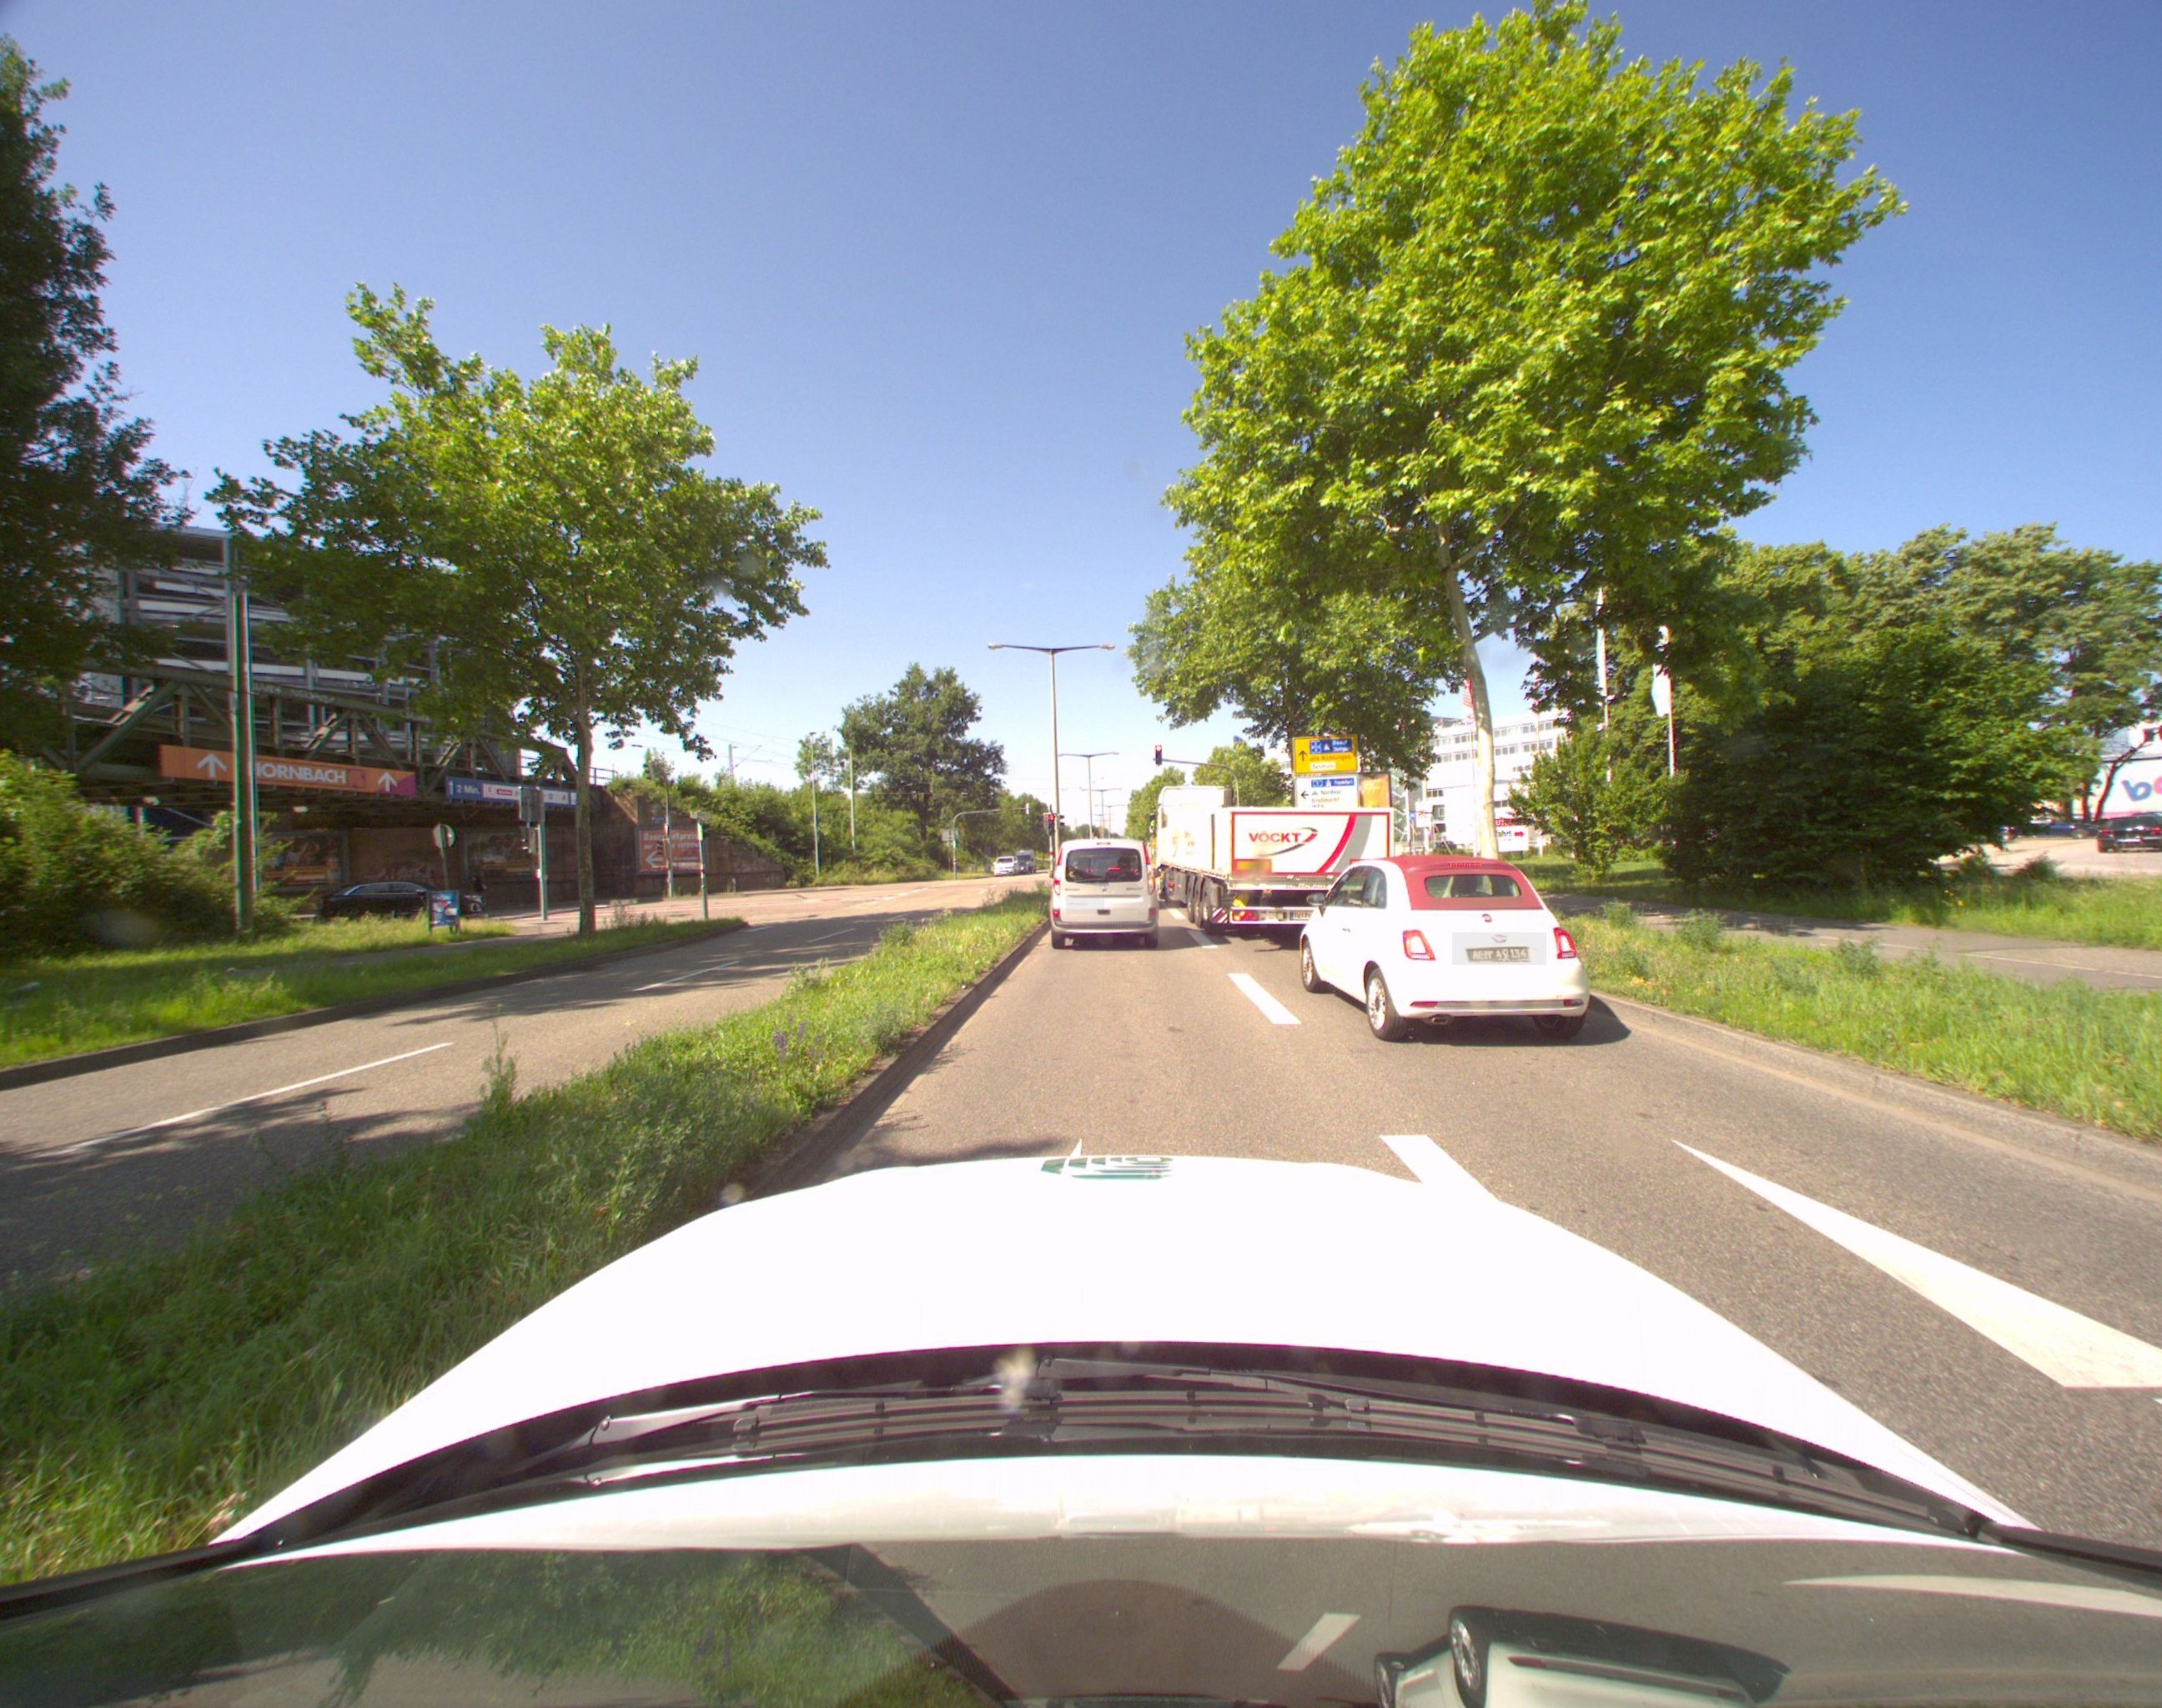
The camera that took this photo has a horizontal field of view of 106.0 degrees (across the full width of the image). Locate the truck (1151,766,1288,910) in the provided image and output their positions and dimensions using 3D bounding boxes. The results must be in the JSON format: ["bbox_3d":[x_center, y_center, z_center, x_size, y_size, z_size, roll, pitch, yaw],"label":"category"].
[{"bbox_3d":[3.976,-0.400,25.204,3.061,3.758,7.477,-1,0,1],"label":"truck"}]

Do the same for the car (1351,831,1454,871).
[{"bbox_3d":[14.257,-0.112,36.309,3.965,1.662,1.726,-1,-1,7],"label":"car"}]

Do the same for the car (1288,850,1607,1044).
[{"bbox_3d":[3.189,0.712,7.878,1.654,1.436,3.523,-1,0,3],"label":"car"}]

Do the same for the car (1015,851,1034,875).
[{"bbox_3d":[-6.432,0.970,92.331,2.055,2.614,5.860,-1,0,-4],"label":"car"}]

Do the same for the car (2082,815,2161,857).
[{"bbox_3d":[41.138,-0.684,32.145,3.746,1.515,1.755,0,-1,-43],"label":"car"}]

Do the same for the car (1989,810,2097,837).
[{"bbox_3d":[58.310,-1.813,49.438,1.727,1.486,3.961,-1,-1,-30],"label":"car"}]

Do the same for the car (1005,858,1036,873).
[{"bbox_3d":[-6.313,1.195,84.623,1.920,1.409,4.192,-1,-1,-25],"label":"car"}]

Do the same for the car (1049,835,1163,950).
[{"bbox_3d":[0.443,0.615,14.676,1.743,1.772,3.950,-1,0,1],"label":"car"}]

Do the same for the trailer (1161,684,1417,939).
[{"bbox_3d":[3.680,-0.592,18.216,3.004,3.741,12.246,-1,0,2],"label":"trailer"}]

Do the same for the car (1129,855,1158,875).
[{"bbox_3d":[5.403,0.928,71.335,1.989,1.640,3.995,-1,0,-3],"label":"car"}]

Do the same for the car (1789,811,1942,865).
[{"bbox_3d":[27.028,-0.503,28.165,1.778,1.716,3.703,0,-1,-45],"label":"car"}]

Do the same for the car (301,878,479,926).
[{"bbox_3d":[-26.311,1.784,31.269,5.075,1.596,1.510,-1,-1,-35],"label":"car"}]

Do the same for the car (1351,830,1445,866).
[{"bbox_3d":[15.491,-0.293,39.960,3.965,1.662,1.726,-1,-1,7],"label":"car"}]

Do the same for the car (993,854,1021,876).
[{"bbox_3d":[-6.929,1.014,76.689,1.986,1.891,4.988,-4,-1,1],"label":"car"}]
